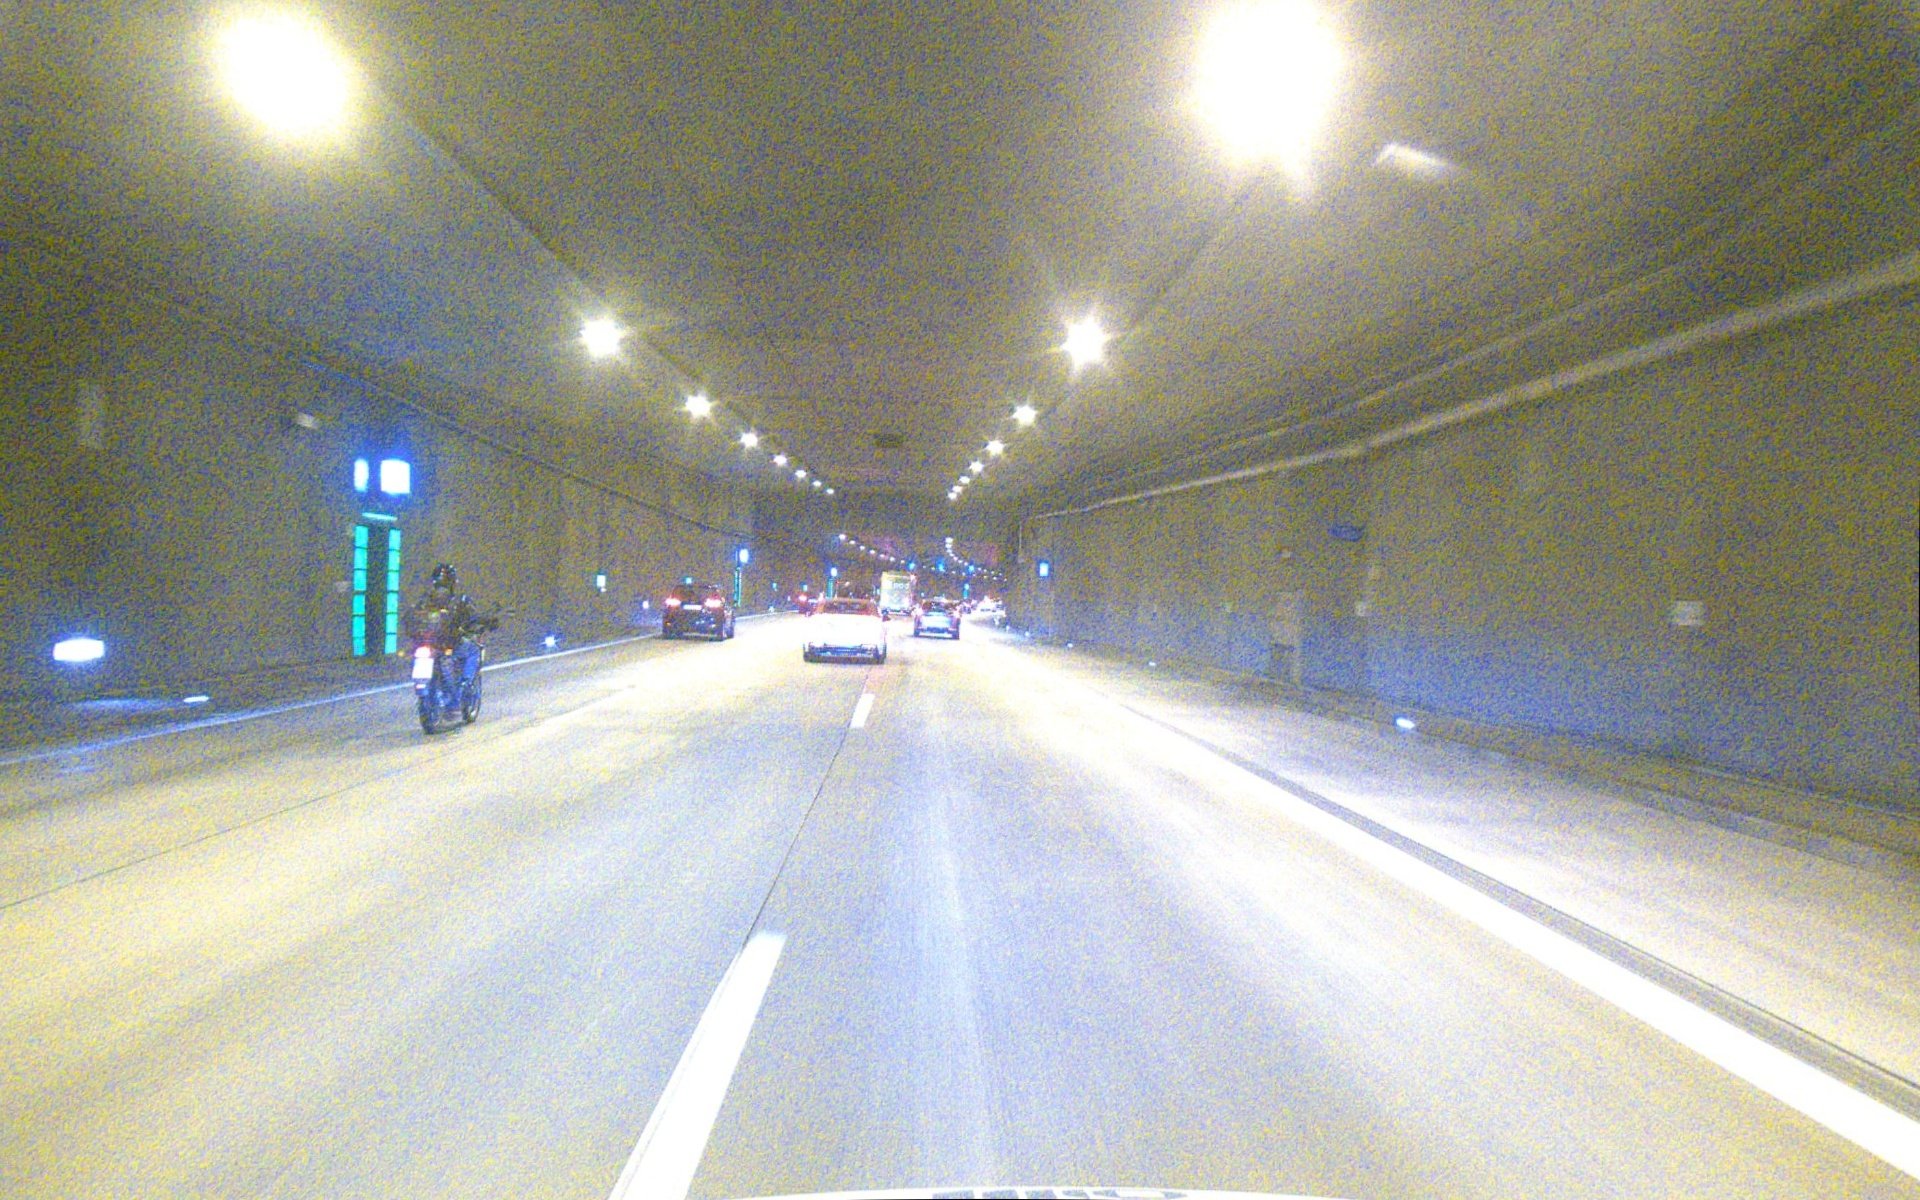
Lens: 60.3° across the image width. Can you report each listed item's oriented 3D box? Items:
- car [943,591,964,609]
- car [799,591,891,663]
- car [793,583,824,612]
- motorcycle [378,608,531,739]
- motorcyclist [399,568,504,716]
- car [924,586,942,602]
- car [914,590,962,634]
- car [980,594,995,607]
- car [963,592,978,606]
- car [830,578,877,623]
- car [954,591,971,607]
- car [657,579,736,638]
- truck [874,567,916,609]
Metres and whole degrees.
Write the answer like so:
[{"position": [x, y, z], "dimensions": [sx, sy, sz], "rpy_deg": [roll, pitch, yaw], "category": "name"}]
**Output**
[{"position": [-0.534, -0.001, 147.993], "dimensions": [1.806, 1.595, 4.000], "rpy_deg": [1, 0, 0], "category": "car"}, {"position": [-2.548, 0.570, 37.397], "dimensions": [1.953, 1.509, 3.998], "rpy_deg": [1, 0, -3], "category": "car"}, {"position": [-9.135, -0.129, 100.104], "dimensions": [1.765, 1.713, 3.997], "rpy_deg": [-1, 0, -4], "category": "car"}, {"position": [-5.321, 0.729, 17.600], "dimensions": [0.828, 1.267, 2.604], "rpy_deg": [-1, 0, 0], "category": "motorcycle"}, {"position": [-5.319, 0.426, 17.346], "dimensions": [0.822, 1.503, 0.821], "rpy_deg": [-1, 0, 0], "category": "motorcyclist"}, {"position": [-3.097, -0.683, 187.953], "dimensions": [1.953, 1.785, 3.999], "rpy_deg": [0, 0, -2], "category": "car"}, {"position": [-0.855, 0.433, 63.874], "dimensions": [1.802, 1.630, 3.999], "rpy_deg": [0, 0, -1], "category": "car"}, {"position": [3.637, 0.056, 215.018], "dimensions": [1.805, 1.578, 4.001], "rpy_deg": [1, 0, 3], "category": "car"}, {"position": [1.460, -0.155, 219.711], "dimensions": [1.795, 1.720, 4.001], "rpy_deg": [1, 0, 2], "category": "car"}, {"position": [-4.941, 0.033, 77.131], "dimensions": [1.953, 2.006, 3.999], "rpy_deg": [-1, 0, -1], "category": "car"}, {"position": [0.296, -0.128, 177.016], "dimensions": [1.820, 1.695, 4.000], "rpy_deg": [1, 0, 0], "category": "car"}, {"position": [-7.577, 0.231, 47.835], "dimensions": [1.749, 1.626, 3.800], "rpy_deg": [0, 0, -1], "category": "car"}, {"position": [-5.011, -0.982, 129.057], "dimensions": [3.020, 3.167, 10.028], "rpy_deg": [0, 1, -1], "category": "truck"}]
